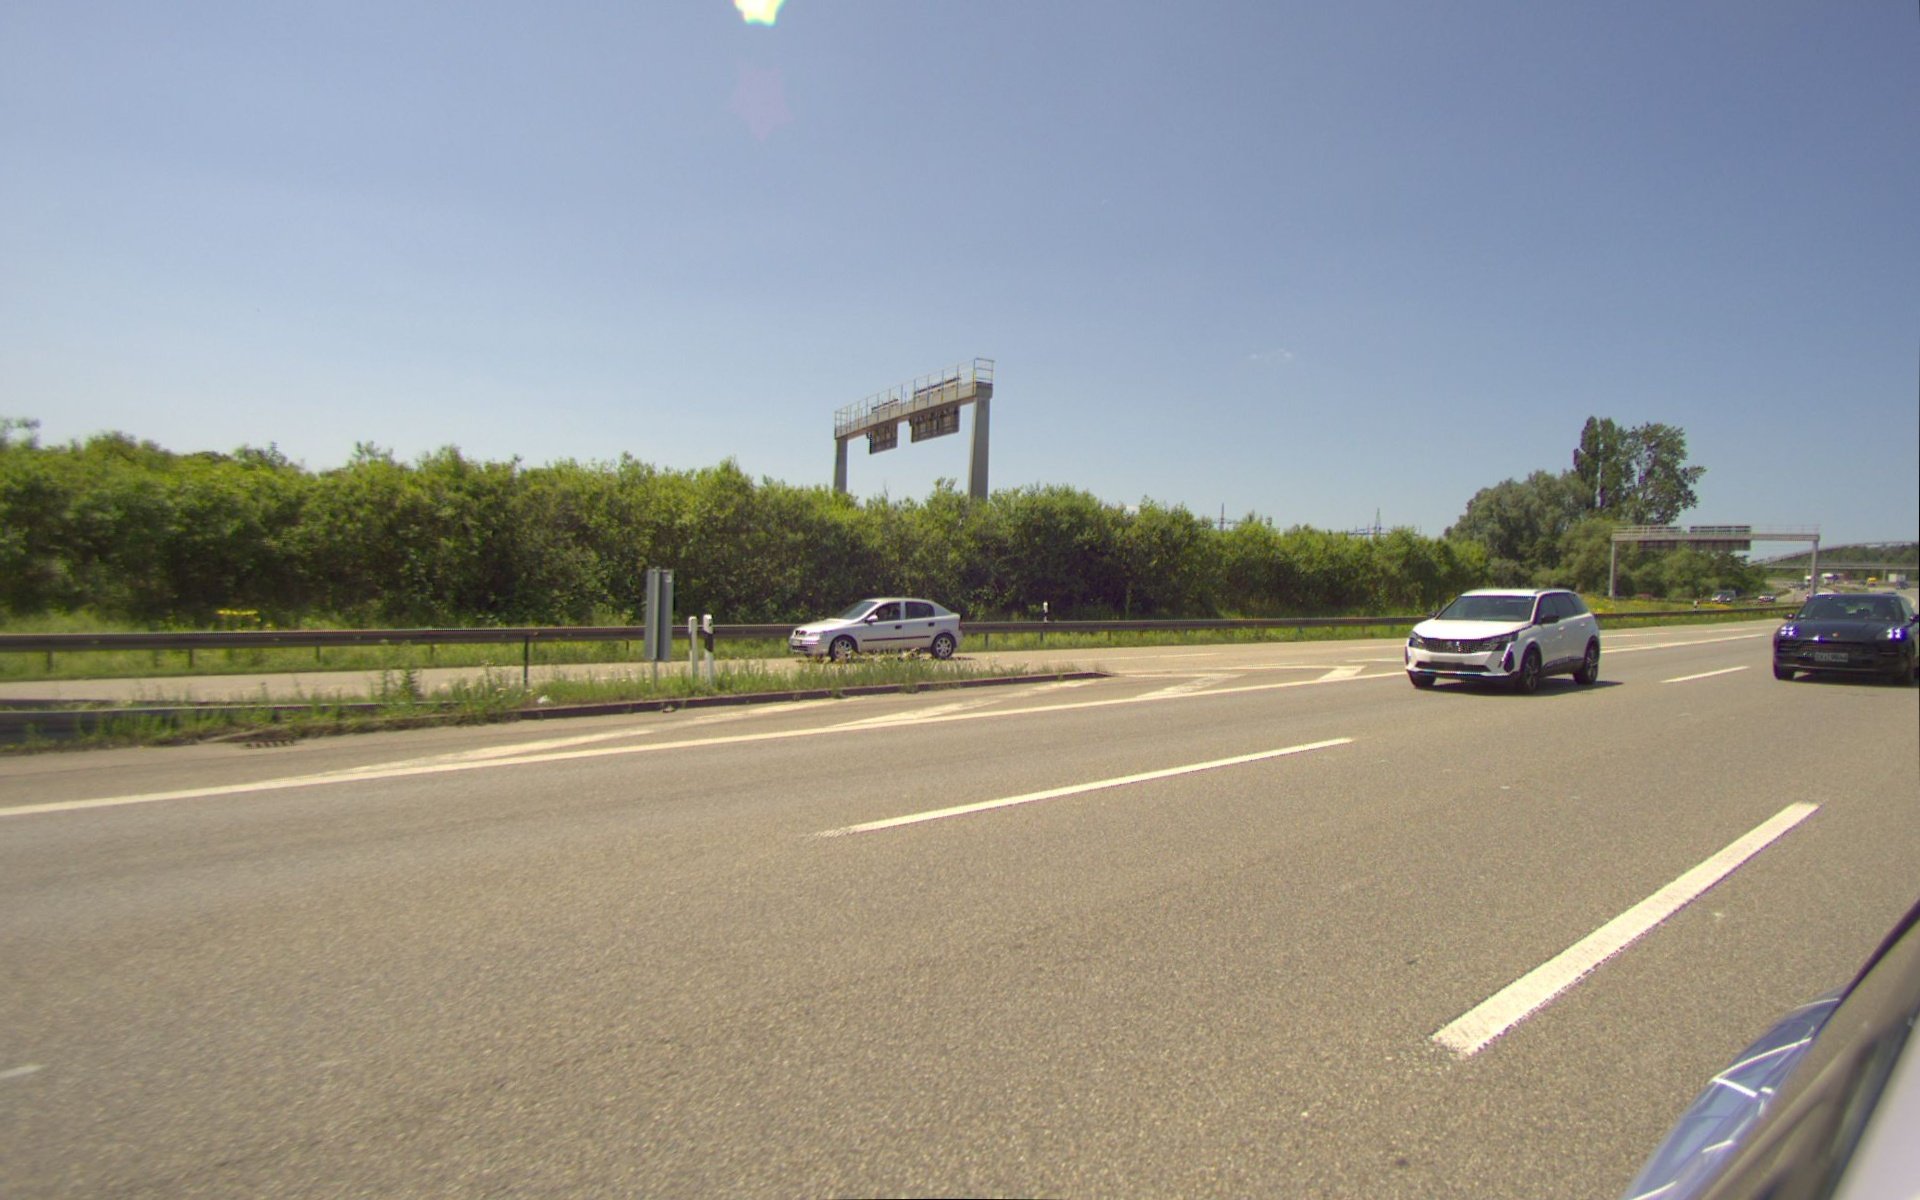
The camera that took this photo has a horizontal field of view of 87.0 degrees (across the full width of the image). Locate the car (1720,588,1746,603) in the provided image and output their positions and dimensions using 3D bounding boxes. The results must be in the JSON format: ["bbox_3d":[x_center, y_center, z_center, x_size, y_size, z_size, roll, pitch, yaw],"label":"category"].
[{"bbox_3d":[90.969,-0.553,119.097,4.059,1.594,1.702,-2,2,-43],"label":"car"}]

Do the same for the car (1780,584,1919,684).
[{"bbox_3d":[16.936,0.539,18.911,4.062,1.615,1.929,-2,2,-42],"label":"car"}]

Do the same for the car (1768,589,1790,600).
[{"bbox_3d":[118.793,-0.806,146.761,4.056,1.594,1.703,-2,2,-40],"label":"car"}]

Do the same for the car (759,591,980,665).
[{"bbox_3d":[-2.019,0.571,23.174,4.752,1.455,1.793,-1,1,-31],"label":"car"}]

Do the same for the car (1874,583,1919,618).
[{"bbox_3d":[55.657,-0.025,59.833,4.219,1.943,1.808,-1,1,-40],"label":"car"}]

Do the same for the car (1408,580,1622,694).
[{"bbox_3d":[9.379,0.501,16.938,4.541,1.611,1.746,-2,2,-42],"label":"car"}]
